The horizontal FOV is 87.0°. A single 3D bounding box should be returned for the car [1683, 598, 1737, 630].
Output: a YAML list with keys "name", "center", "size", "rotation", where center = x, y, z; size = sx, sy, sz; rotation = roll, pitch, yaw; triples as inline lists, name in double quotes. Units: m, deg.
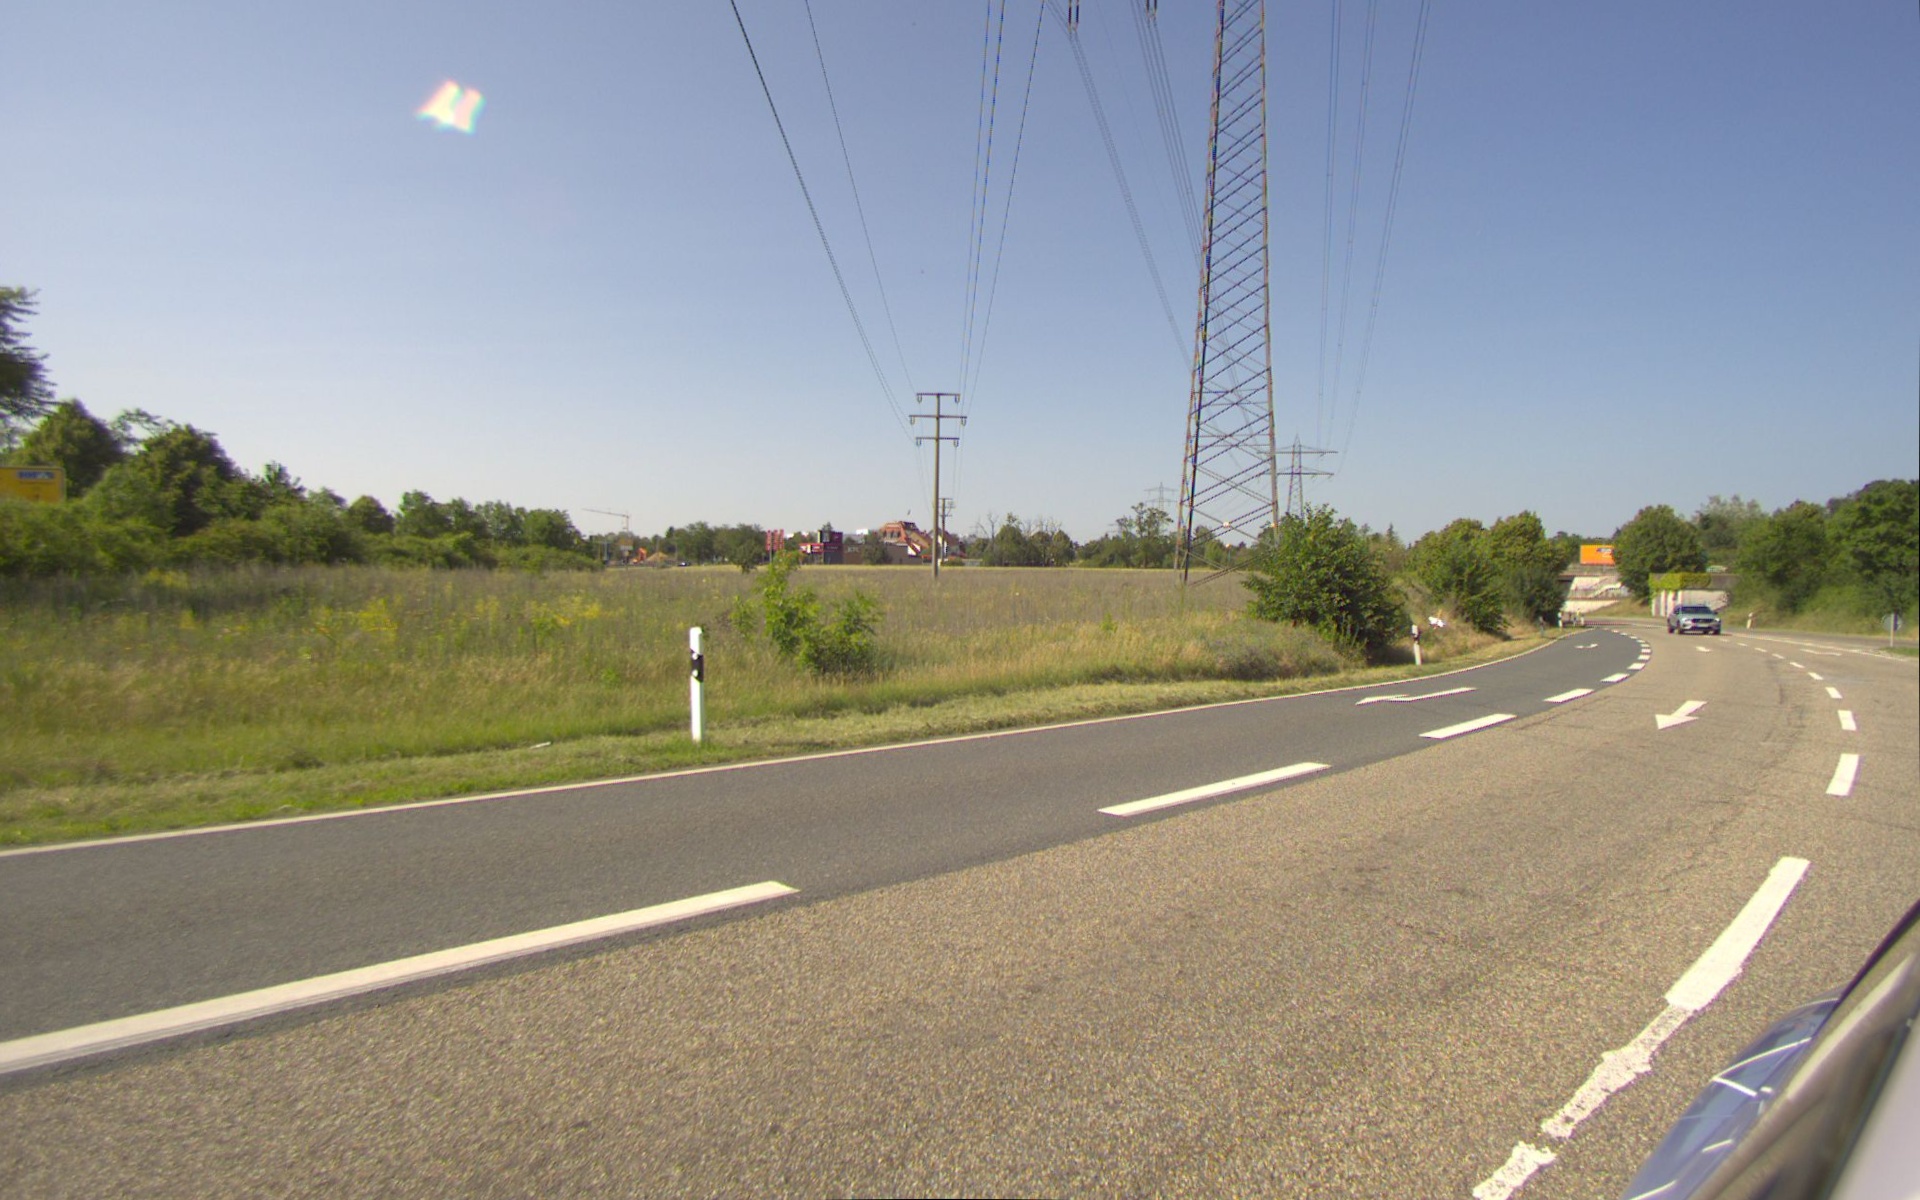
- name: "car"
  center: [40.592, 0.743, 54.857]
  size: [1.844, 1.639, 3.610]
  rotation: [1, 0, 29]

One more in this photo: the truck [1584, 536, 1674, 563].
- name: "truck"
  center: [93.341, -7.042, 141.520]
  size: [2.117, 3.224, 11.305]
  rotation: [0, 0, -21]
